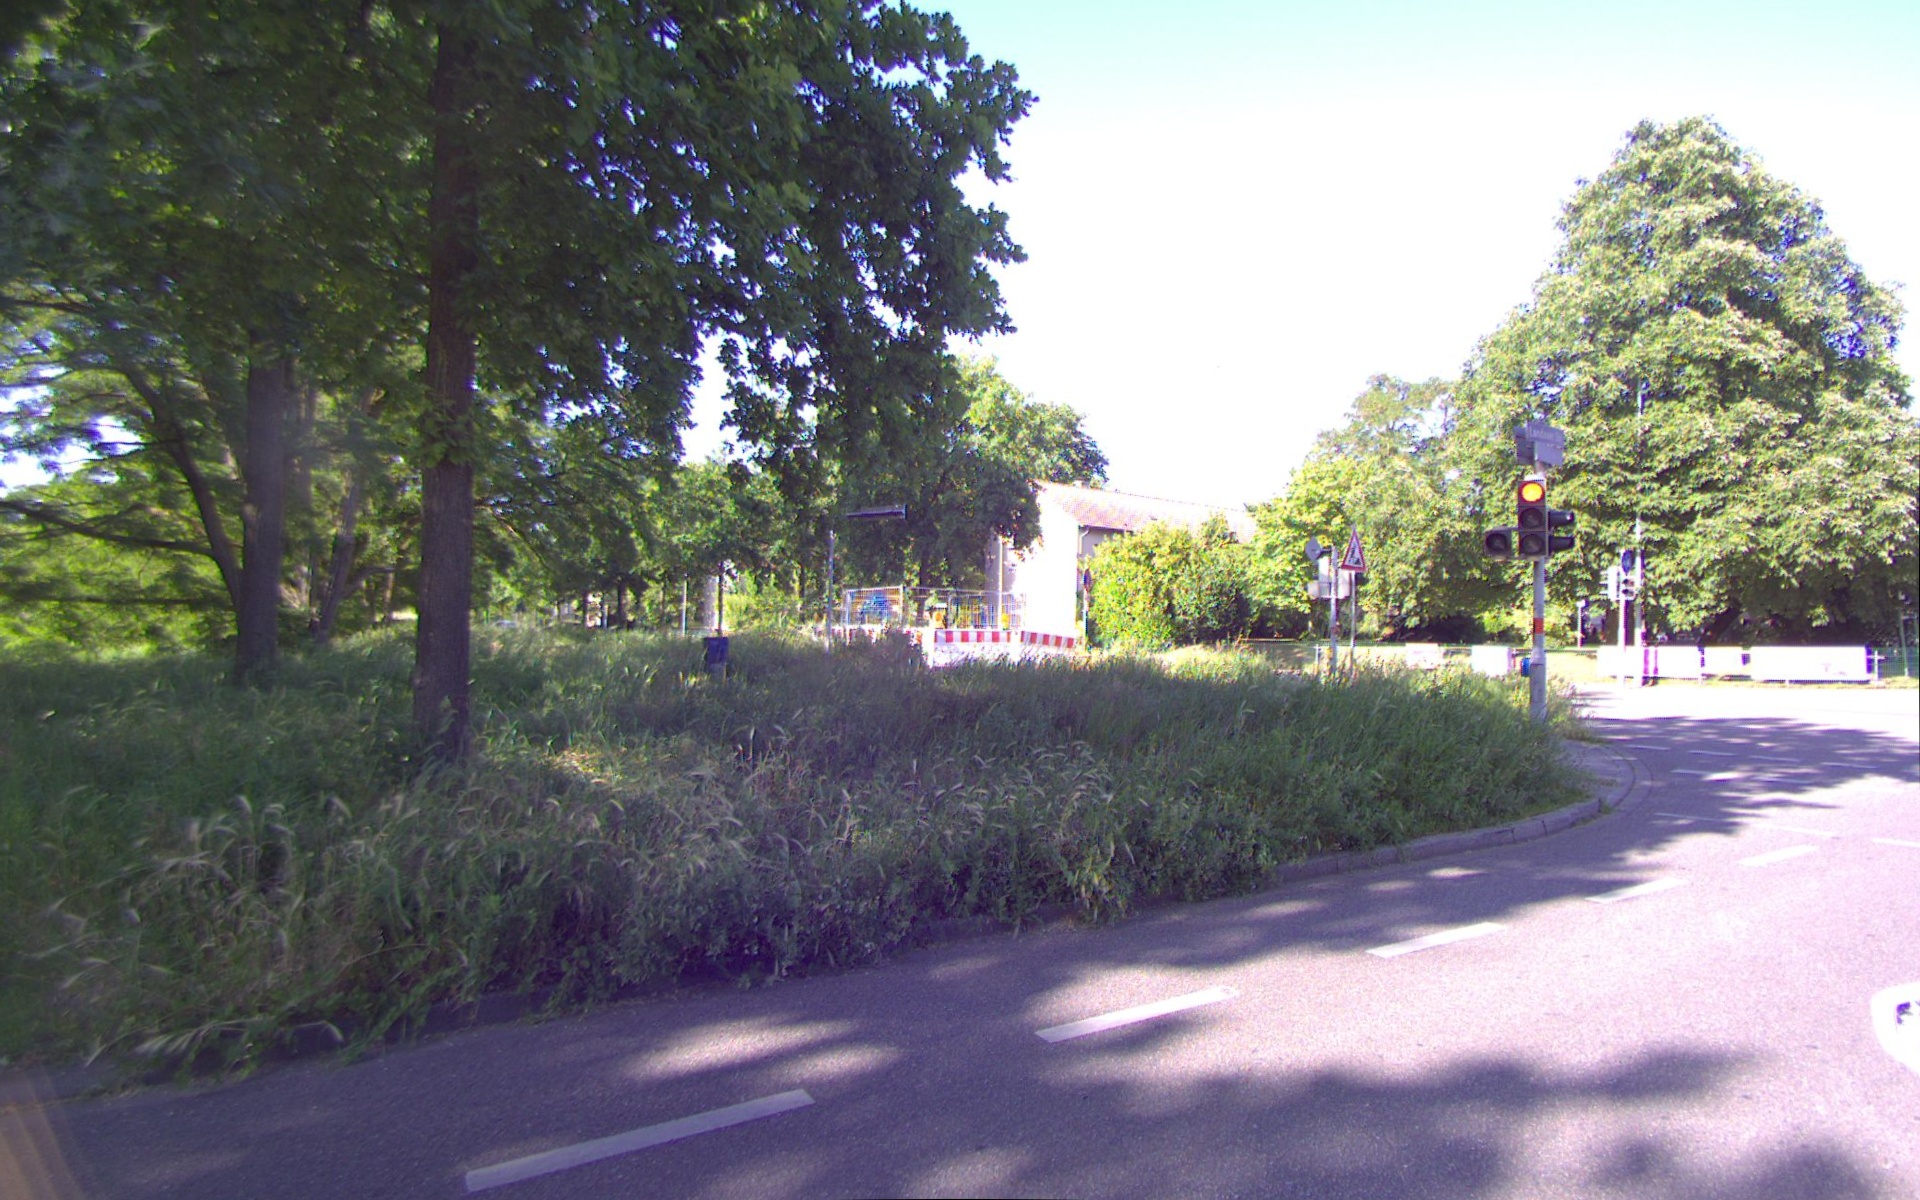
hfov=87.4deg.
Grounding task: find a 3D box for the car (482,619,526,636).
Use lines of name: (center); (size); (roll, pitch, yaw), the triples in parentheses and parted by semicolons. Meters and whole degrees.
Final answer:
car: (-47.375, 2.857, 104.496); (3.939, 1.673, 1.991); (2, 0, -20)
